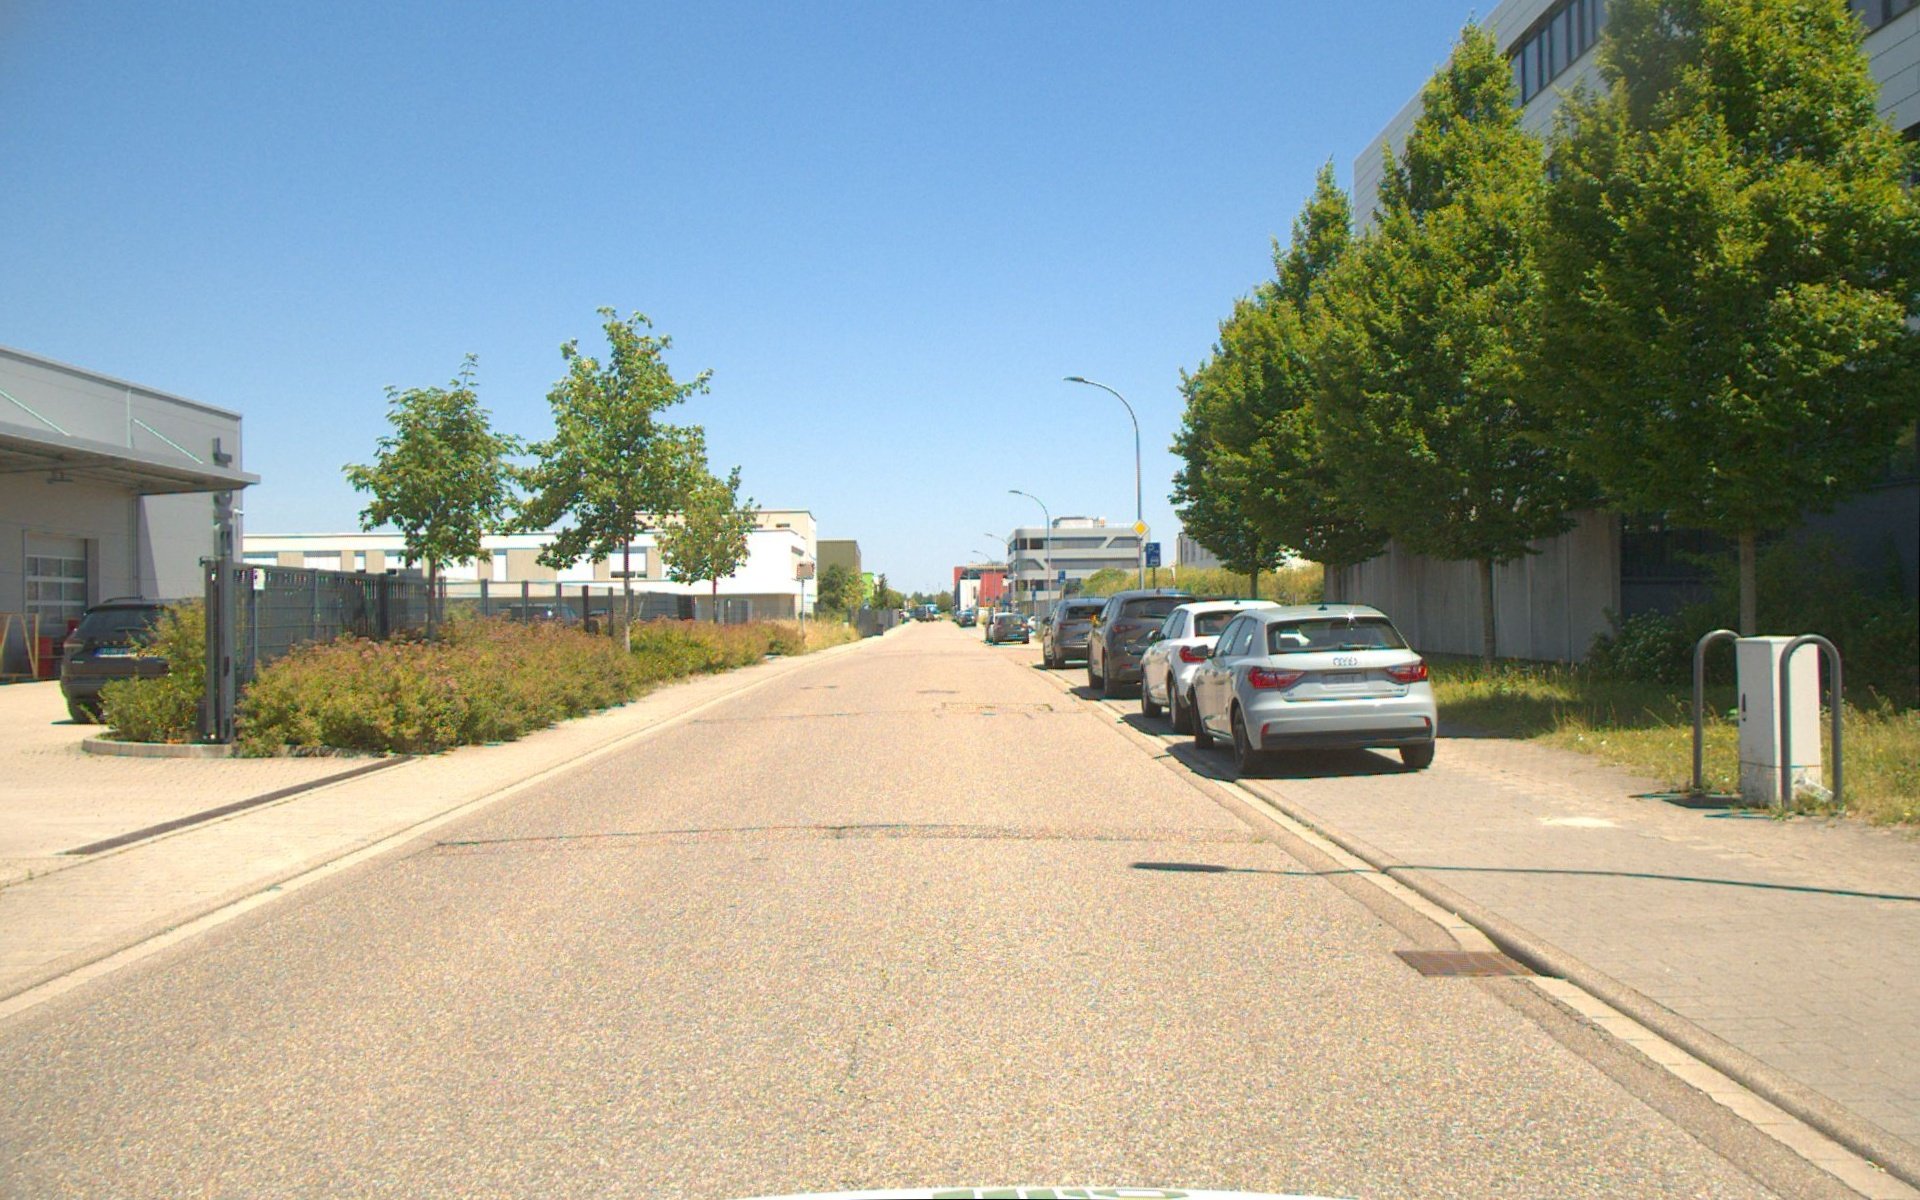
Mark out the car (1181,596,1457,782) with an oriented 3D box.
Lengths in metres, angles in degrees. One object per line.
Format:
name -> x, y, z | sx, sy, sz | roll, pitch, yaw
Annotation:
car -> 3.242, 0.739, 15.696 | 1.681, 1.448, 3.950 | -3, 0, 0

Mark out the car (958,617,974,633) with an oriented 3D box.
car -> 0.654, 2.852, 190.450 | 1.740, 1.758, 3.999 | 1, 0, -1

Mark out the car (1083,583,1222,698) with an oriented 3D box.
car -> 3.117, 0.621, 27.567 | 1.722, 1.692, 4.362 | -2, 0, 0

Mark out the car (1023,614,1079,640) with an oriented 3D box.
car -> 7.552, 2.208, 137.437 | 4.529, 2.049, 2.607 | 1, -1, 2

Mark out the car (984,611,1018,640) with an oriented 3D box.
car -> 2.379, 1.455, 95.160 | 1.868, 1.573, 4.001 | -3, -1, 2

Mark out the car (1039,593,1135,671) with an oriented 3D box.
car -> 3.038, 0.748, 40.430 | 1.767, 1.691, 4.606 | -3, 0, -2

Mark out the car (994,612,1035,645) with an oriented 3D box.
car -> 2.616, 1.353, 79.871 | 1.868, 1.473, 4.001 | -3, -1, 2

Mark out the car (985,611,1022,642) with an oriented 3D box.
car -> 2.365, 1.407, 88.783 | 1.868, 1.573, 4.001 | -3, -1, 2

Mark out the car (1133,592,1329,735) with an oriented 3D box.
car -> 3.234, 0.712, 20.469 | 1.681, 1.507, 4.031 | -3, 0, 0
